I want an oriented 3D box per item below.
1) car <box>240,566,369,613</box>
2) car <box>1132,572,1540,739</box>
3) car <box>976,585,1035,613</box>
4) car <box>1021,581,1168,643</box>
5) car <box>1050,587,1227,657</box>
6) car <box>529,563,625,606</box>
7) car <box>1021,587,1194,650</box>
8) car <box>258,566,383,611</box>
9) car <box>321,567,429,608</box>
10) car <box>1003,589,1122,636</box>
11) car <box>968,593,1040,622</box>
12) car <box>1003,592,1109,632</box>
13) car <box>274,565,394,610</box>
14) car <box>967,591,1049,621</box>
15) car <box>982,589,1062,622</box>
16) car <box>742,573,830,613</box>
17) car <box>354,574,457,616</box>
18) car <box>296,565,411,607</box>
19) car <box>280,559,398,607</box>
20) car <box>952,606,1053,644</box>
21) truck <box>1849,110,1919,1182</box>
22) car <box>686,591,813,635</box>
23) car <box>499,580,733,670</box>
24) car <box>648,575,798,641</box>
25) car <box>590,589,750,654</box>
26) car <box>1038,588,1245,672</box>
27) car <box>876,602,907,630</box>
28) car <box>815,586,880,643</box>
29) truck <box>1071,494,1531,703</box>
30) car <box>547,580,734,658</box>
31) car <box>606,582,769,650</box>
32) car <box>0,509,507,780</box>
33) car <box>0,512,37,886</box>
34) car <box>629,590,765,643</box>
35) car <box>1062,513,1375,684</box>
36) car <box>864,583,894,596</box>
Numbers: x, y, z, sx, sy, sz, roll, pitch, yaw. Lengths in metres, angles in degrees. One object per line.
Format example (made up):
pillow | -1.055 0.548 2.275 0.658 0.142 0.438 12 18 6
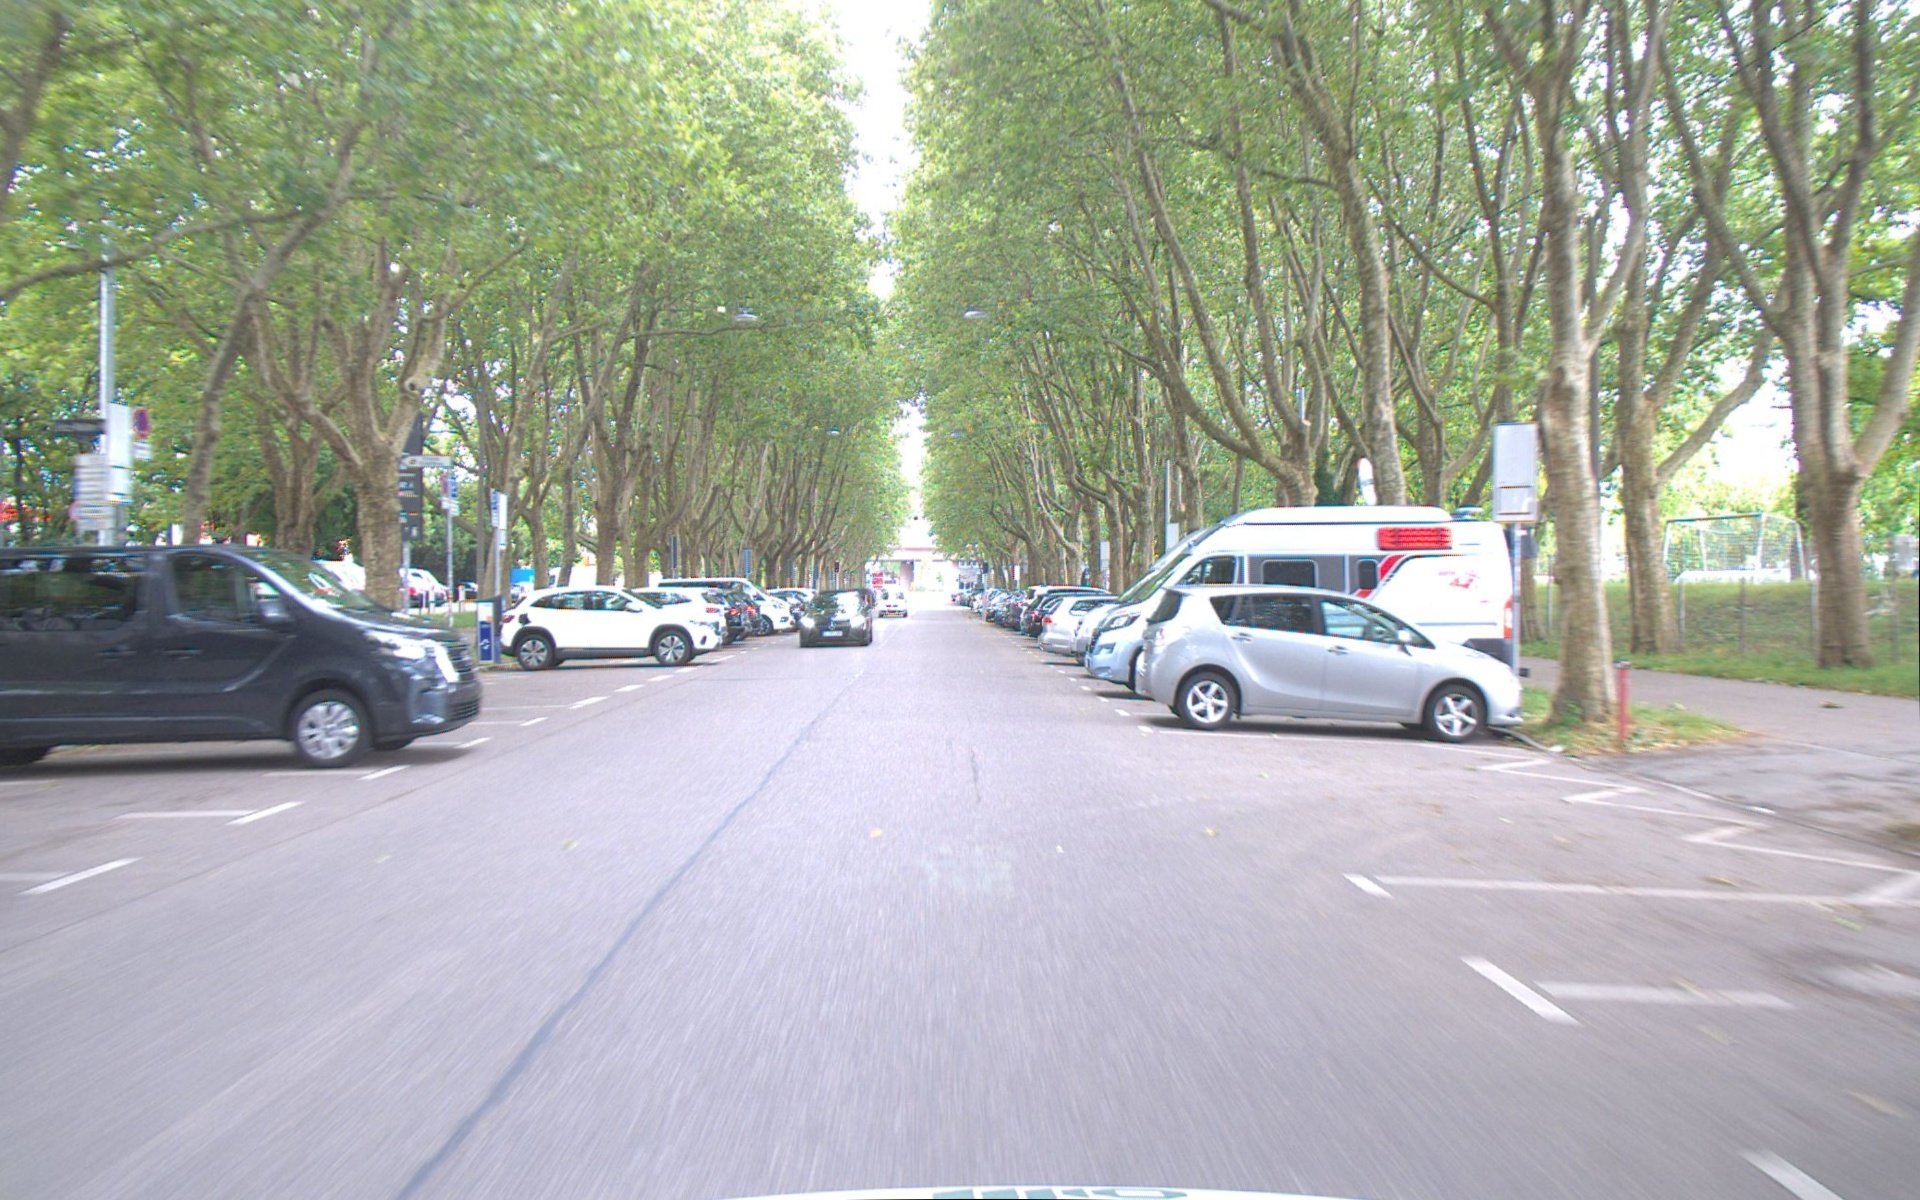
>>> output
car | -34.323 -0.532 86.706 5.880 2.292 1.999 1 0 -2
car | 4.194 0.602 18.973 4.250 1.646 1.804 2 0 2
car | 2.835 -0.059 104.130 3.574 1.696 1.518 1 0 -5
car | 4.138 0.364 51.297 4.297 1.786 1.800 1 0 -3
car | 4.248 0.506 39.766 3.963 1.552 1.814 1 0 -3
car | -24.663 -0.973 106.542 5.668 2.642 2.000 1 0 -1
car | 3.925 0.478 44.336 4.412 1.552 1.702 1 0 -3
car | -34.417 -0.611 89.139 5.880 2.292 1.999 1 0 -2
car | -35.924 -0.739 101.611 5.880 2.370 1.999 1 0 -2
car | 3.473 0.406 56.591 3.907 1.512 1.693 1 0 -3
car | 2.625 0.432 99.101 4.085 1.624 1.853 1 0 -5
car | 3.560 0.436 61.702 3.750 1.413 1.693 1 0 -3
car | -34.697 -0.688 91.783 5.880 2.358 1.999 1 0 -2
car | 2.573 0.322 89.151 4.213 1.495 1.622 1 0 -5
car | 2.937 0.266 79.106 3.699 1.495 1.666 1 0 -2
car | -7.693 -0.317 73.420 3.751 1.656 1.951 -1 0 -4
car | -35.619 -0.311 106.337 5.880 2.571 1.999 1 0 -2
car | -35.385 -0.818 96.563 5.880 2.279 1.999 1 0 -2
car | -35.400 -0.955 94.386 5.880 2.571 1.999 1 0 -2
car | 1.751 1.044 69.023 4.127 1.476 1.610 1 0 -3
truck | 4.432 0.167 1.364 2.413 2.989 7.522 1 0 -9
car | -7.779 0.460 61.280 4.355 1.478 1.775 -2 0 3
car | -6.854 0.478 33.311 4.292 1.624 1.999 -2 0 -3
car | -8.009 0.270 56.142 4.795 2.054 1.919 -2 0 -2
car | -7.617 0.544 43.672 3.908 1.501 1.842 -2 0 -3
car | 3.683 0.610 34.094 4.035 1.454 1.703 3 0 1
car | -3.874 0.868 93.570 1.655 1.497 3.837 -1 0 -3
car | -3.027 0.353 44.218 1.622 1.388 4.108 -2 0 -5
truck | 4.793 -0.019 23.881 6.166 2.762 2.097 1 0 -2
car | -7.878 0.457 41.104 4.254 1.697 1.999 -2 0 -3
car | -7.614 0.430 46.575 4.254 1.697 1.999 -2 0 -3
car | -7.037 0.375 14.893 5.327 2.165 1.939 -2 1 -3
car | -7.015 0.582 7.461 4.562 1.852 1.804 -2 0 -4
car | -8.018 0.495 50.723 3.908 1.438 1.682 -2 0 -3
car | 4.453 -0.031 29.057 5.122 2.736 1.957 2 0 -1
car | -10.405 -1.349 212.915 3.734 1.542 1.686 1 0 2
